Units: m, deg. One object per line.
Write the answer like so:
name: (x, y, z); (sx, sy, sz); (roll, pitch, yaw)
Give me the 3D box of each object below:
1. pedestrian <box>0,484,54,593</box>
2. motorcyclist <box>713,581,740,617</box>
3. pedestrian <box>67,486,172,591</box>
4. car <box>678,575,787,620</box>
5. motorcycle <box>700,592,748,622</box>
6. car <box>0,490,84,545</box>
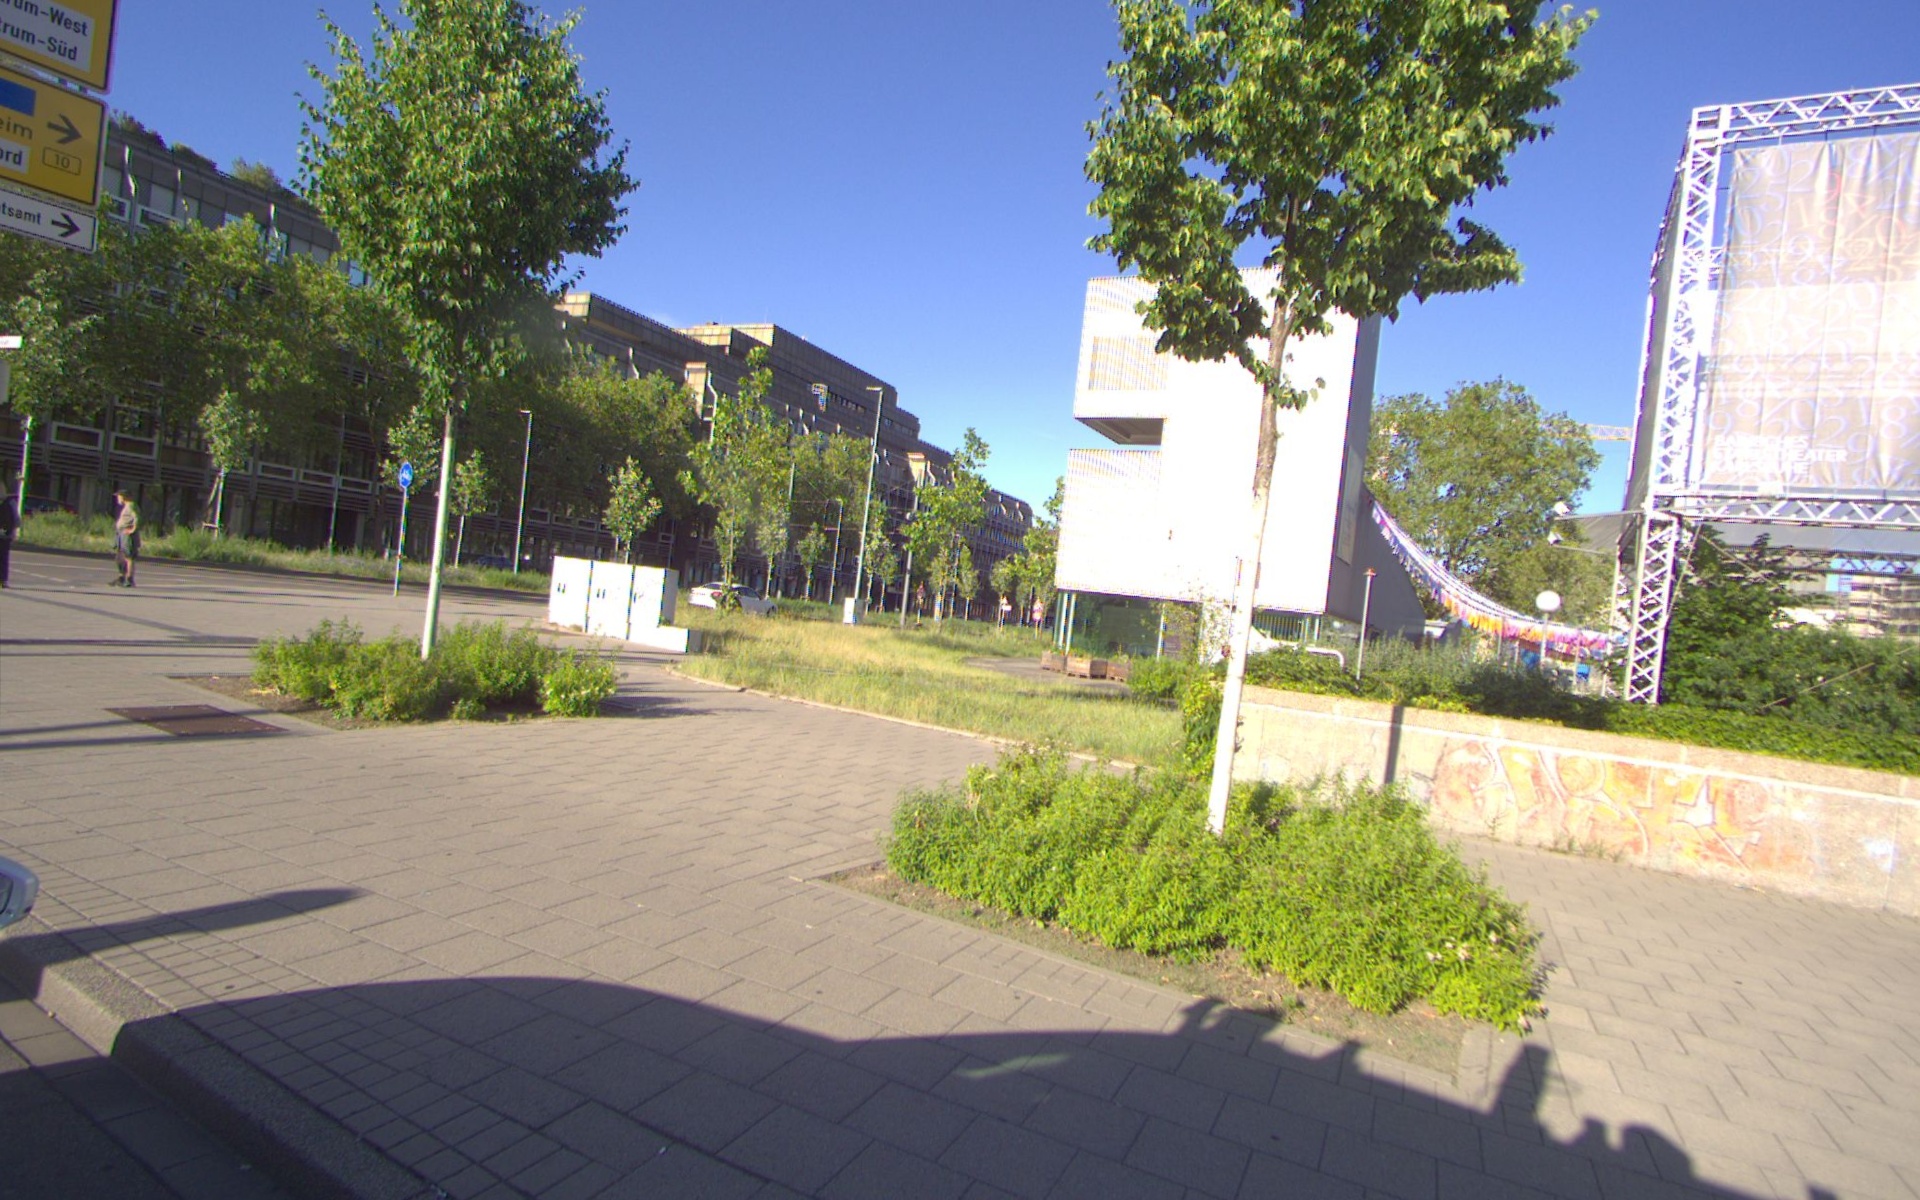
pedestrian: (-14.040, -0.918, 14.785); (0.633, 1.510, 0.789); (6, -1, 31)
motorcyclist: (-8.936, -0.041, 38.494); (0.551, 1.263, 0.727); (7, 0, 26)
pedestrian: (-14.982, -1.080, 17.960); (0.946, 1.684, 0.882); (7, -1, 11)
car: (-9.751, -0.061, 43.530); (1.820, 1.437, 4.956); (7, -1, 26)
motorcycle: (-8.997, 0.271, 38.435); (0.551, 0.970, 2.080); (7, 0, 25)
car: (-33.274, -2.992, 34.914); (1.629, 1.604, 3.896); (6, -1, 24)
